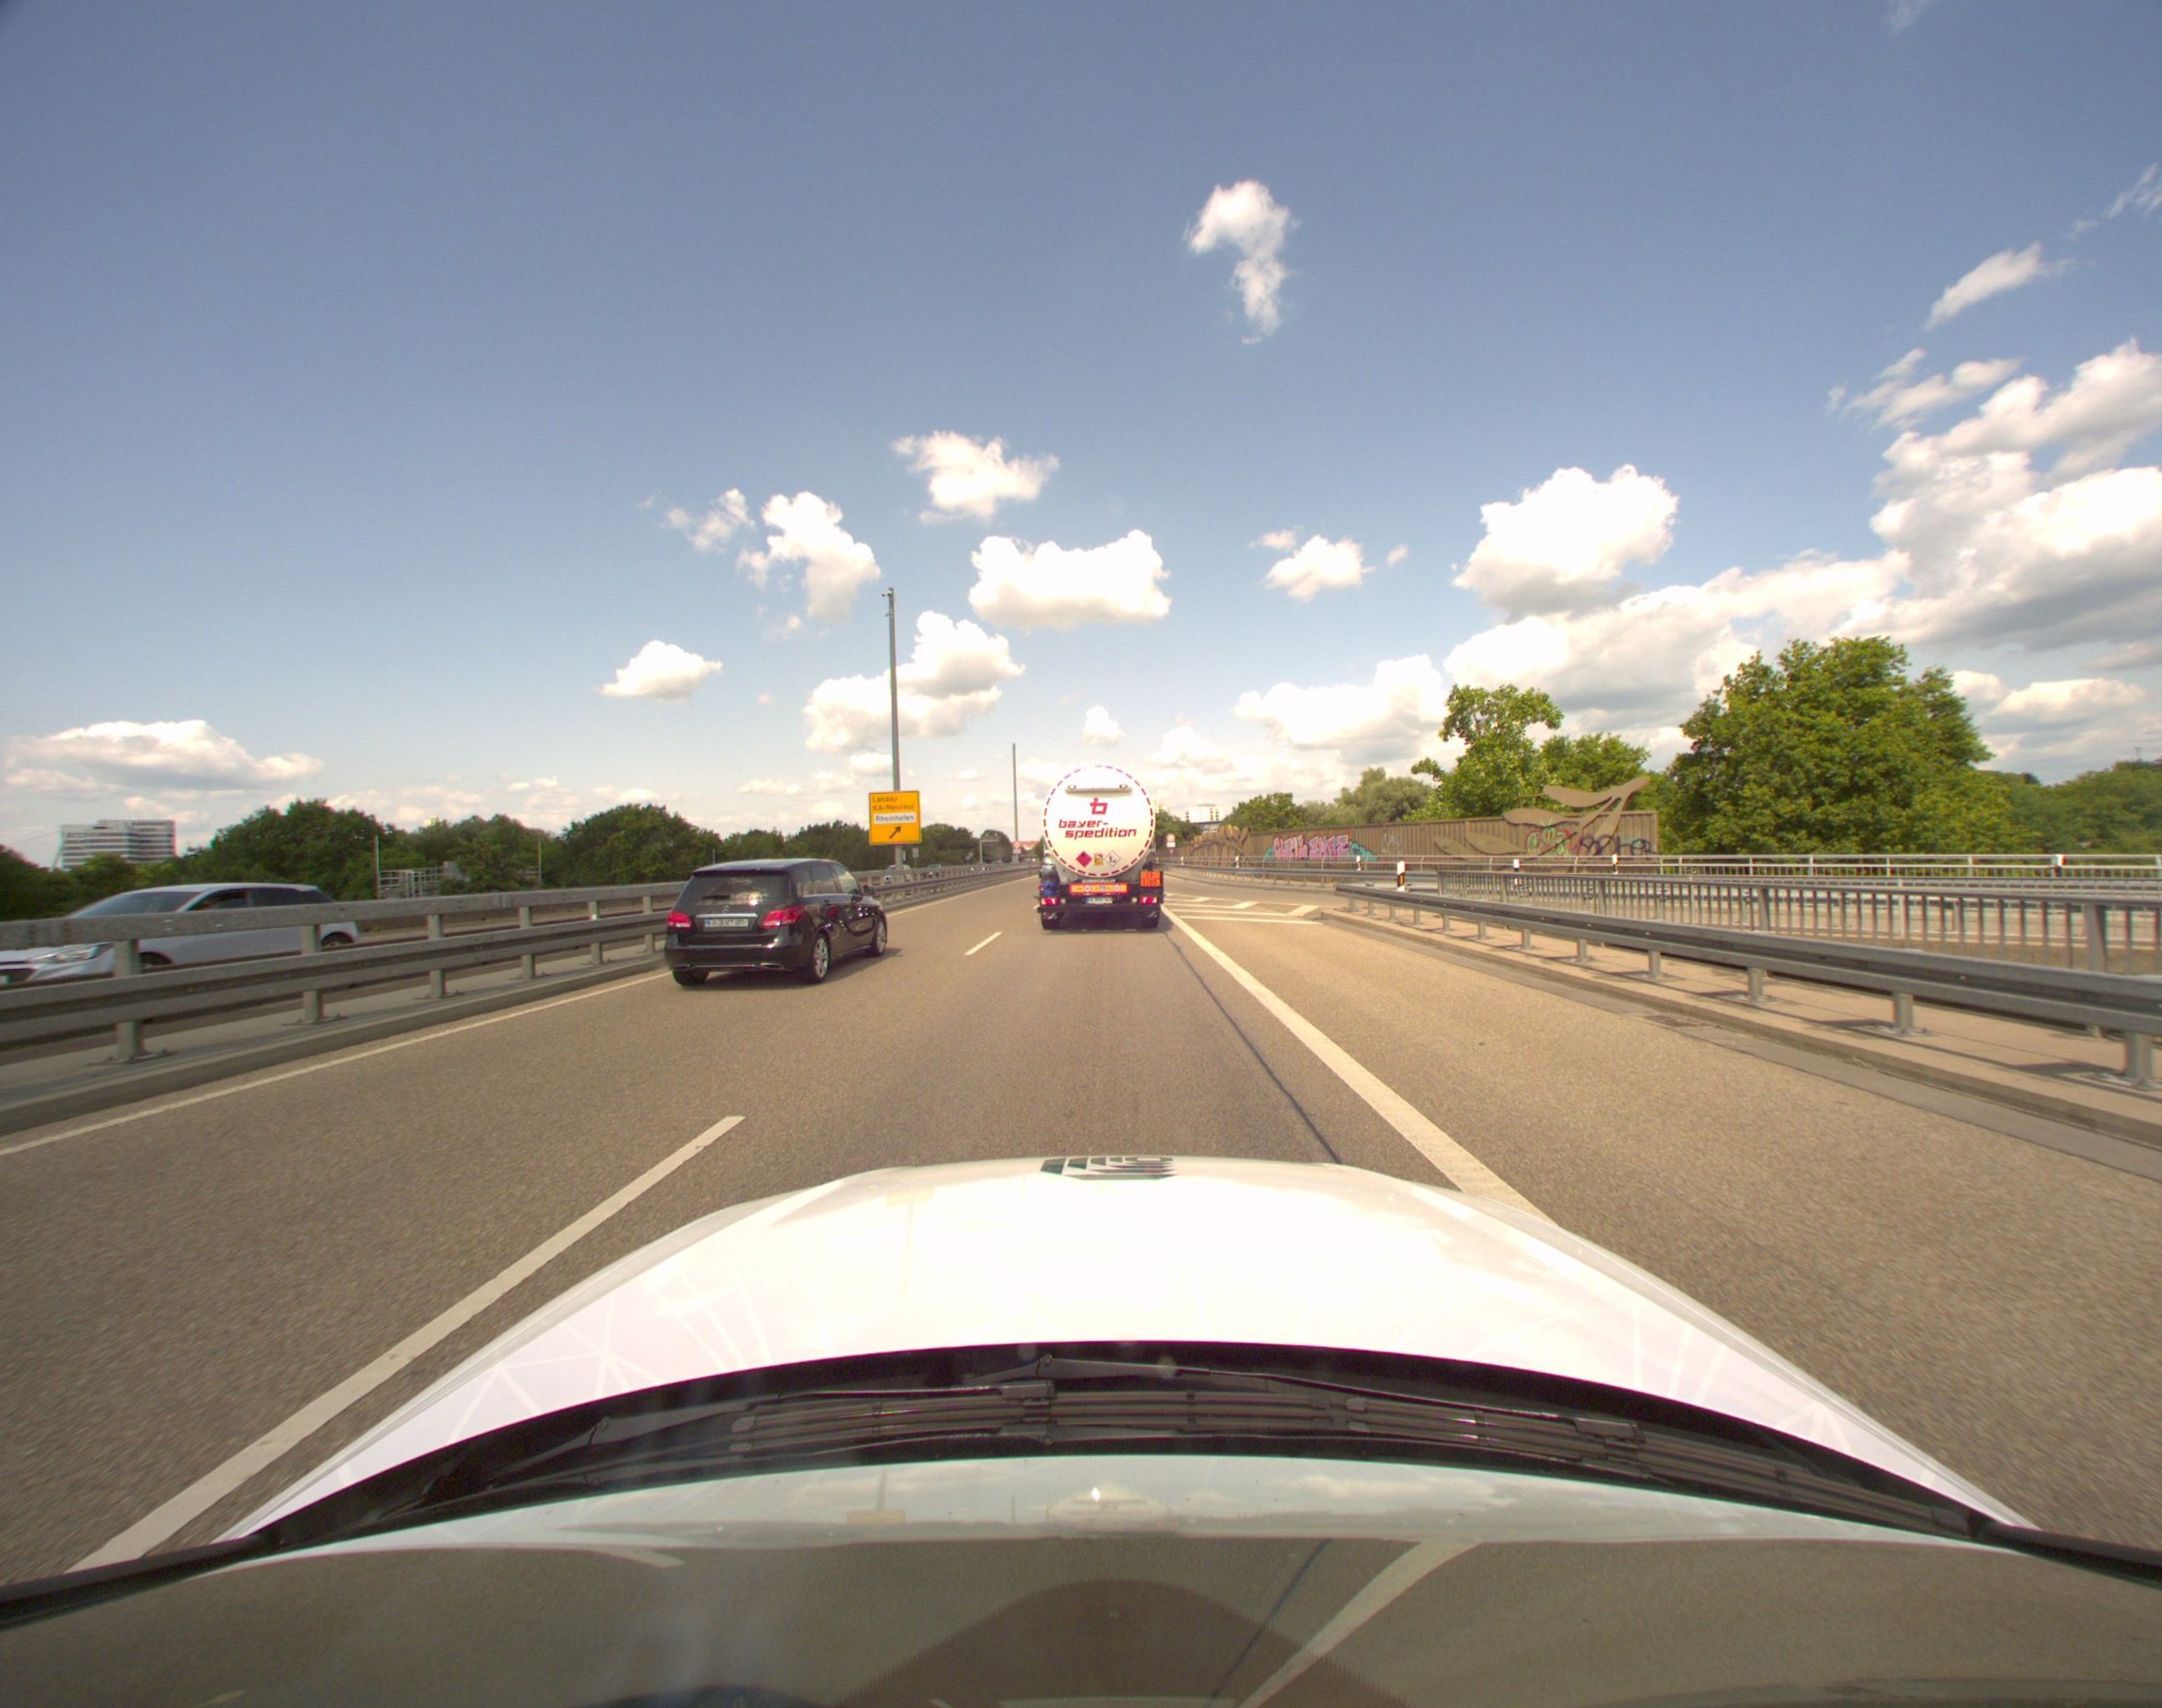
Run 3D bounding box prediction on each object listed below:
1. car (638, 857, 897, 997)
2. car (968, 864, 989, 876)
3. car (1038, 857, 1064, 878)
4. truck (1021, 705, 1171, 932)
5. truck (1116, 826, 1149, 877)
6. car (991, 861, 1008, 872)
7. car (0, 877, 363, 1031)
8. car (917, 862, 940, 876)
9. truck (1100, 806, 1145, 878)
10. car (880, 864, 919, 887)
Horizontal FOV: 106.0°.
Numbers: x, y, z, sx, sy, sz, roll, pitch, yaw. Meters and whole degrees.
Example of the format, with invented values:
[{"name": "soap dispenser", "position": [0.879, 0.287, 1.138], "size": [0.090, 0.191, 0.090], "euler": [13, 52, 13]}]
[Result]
[{"name": "car", "position": [-3.996, 0.818, 11.316], "size": [1.705, 1.527, 4.594], "euler": [0, 0, 2]}, {"name": "car", "position": [-12.836, 1.976, 102.145], "size": [1.770, 1.420, 4.624], "euler": [-1, 0, 3]}, {"name": "car", "position": [-2.297, 1.011, 63.812], "size": [1.741, 1.531, 4.001], "euler": [-1, 0, 1]}, {"name": "truck", "position": [0.356, -0.679, 19.733], "size": [2.885, 4.369, 8.030], "euler": [0, 0, 1]}, {"name": "truck", "position": [4.989, -0.210, 80.204], "size": [2.885, 4.808, 8.030], "euler": [0, 0, 1]}, {"name": "car", "position": [-12.145, 1.881, 121.522], "size": [1.905, 1.464, 4.521], "euler": [-2, 0, 2]}, {"name": "car", "position": [-12.366, 1.137, 10.820], "size": [1.896, 1.529, 4.242], "euler": [0, 0, -1]}, {"name": "car", "position": [-16.971, 1.679, 91.007], "size": [1.672, 1.401, 4.001], "euler": [-2, 0, 2]}, {"name": "truck", "position": [2.887, -0.819, 58.705], "size": [2.885, 4.808, 8.030], "euler": [0, 0, 1]}, {"name": "car", "position": [-14.000, 1.636, 62.972], "size": [1.790, 1.596, 4.714], "euler": [0, 0, 2]}]
